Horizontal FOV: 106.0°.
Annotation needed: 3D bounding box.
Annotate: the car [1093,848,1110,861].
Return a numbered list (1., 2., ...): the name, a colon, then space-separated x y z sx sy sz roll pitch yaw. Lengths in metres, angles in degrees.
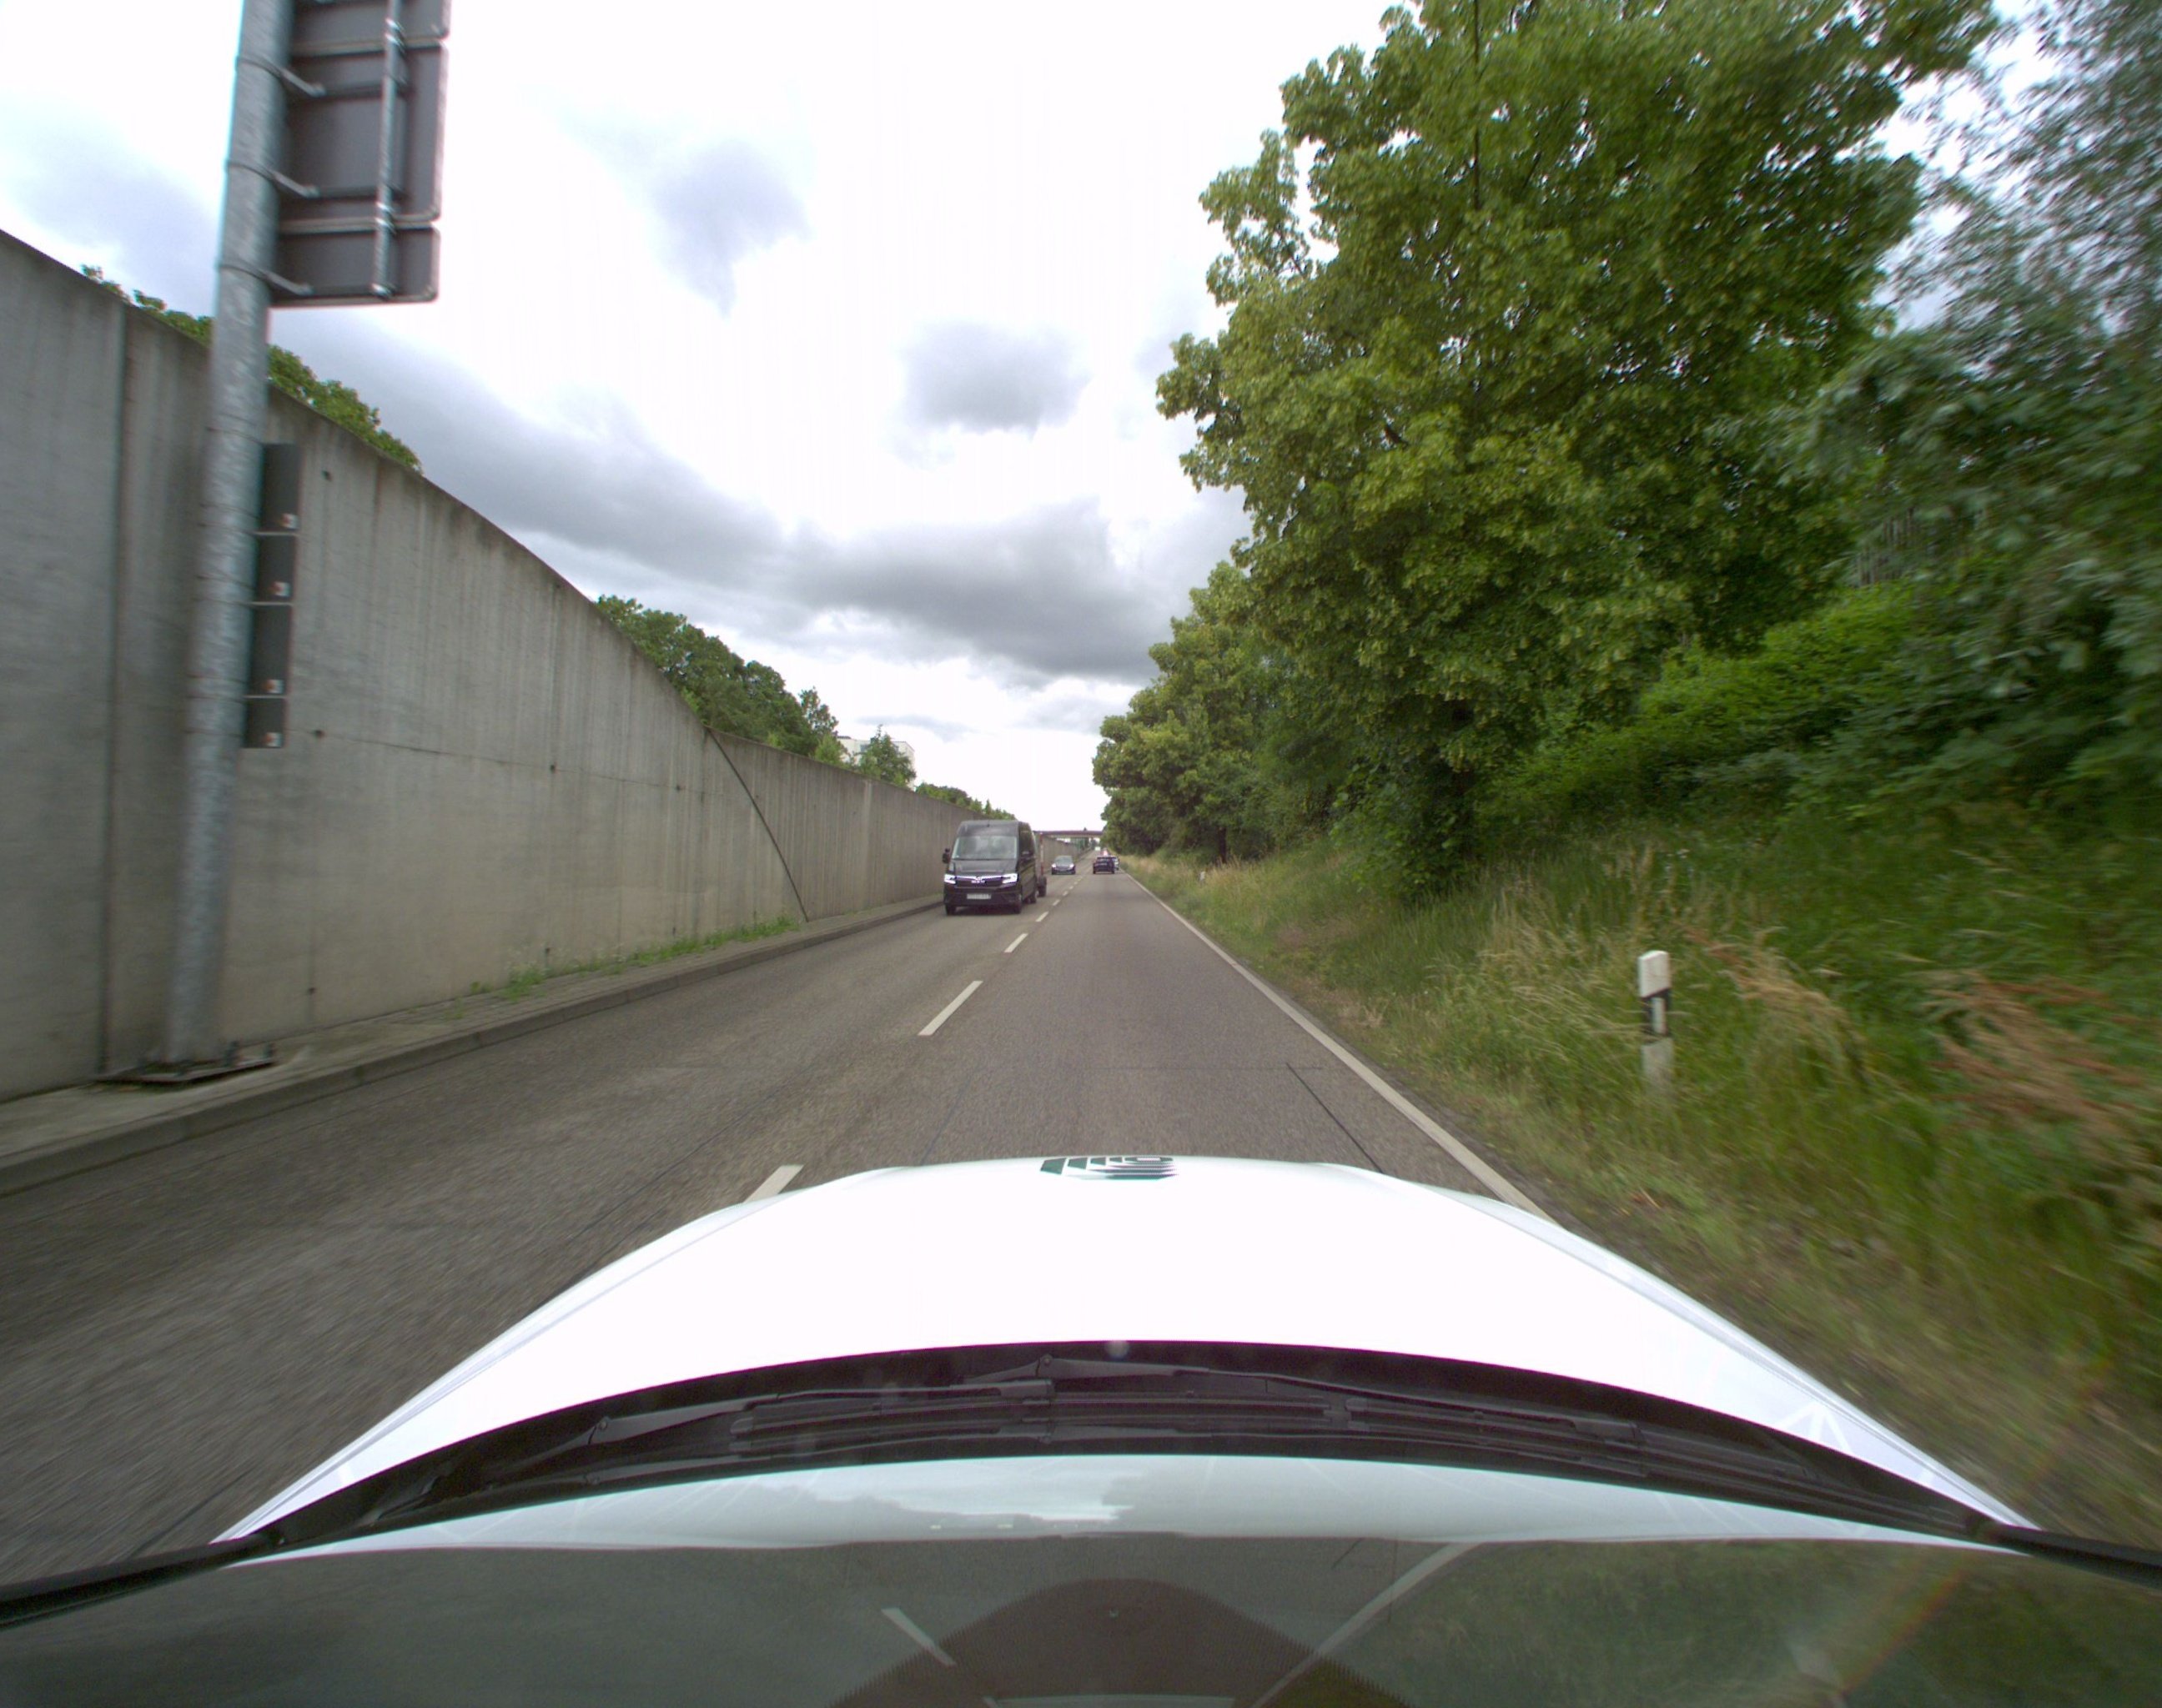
1. car: 2.561 0.111 102.540 1.861 1.490 4.256 3 0 0

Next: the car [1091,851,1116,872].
1. car: 1.816 0.630 66.252 1.750 1.523 4.032 -2 -1 -3

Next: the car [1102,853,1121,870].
1. car: 3.139 0.774 82.729 1.747 1.523 4.039 -2 -2 3

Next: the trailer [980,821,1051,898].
1. trailer: -2.321 0.201 30.113 2.102 2.630 4.373 0 0 2

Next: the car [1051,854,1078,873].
1. car: -1.279 0.765 65.953 1.885 1.483 4.825 -1 0 2

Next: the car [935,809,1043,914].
1. car: -2.501 0.198 24.224 2.102 2.630 7.420 0 0 2
